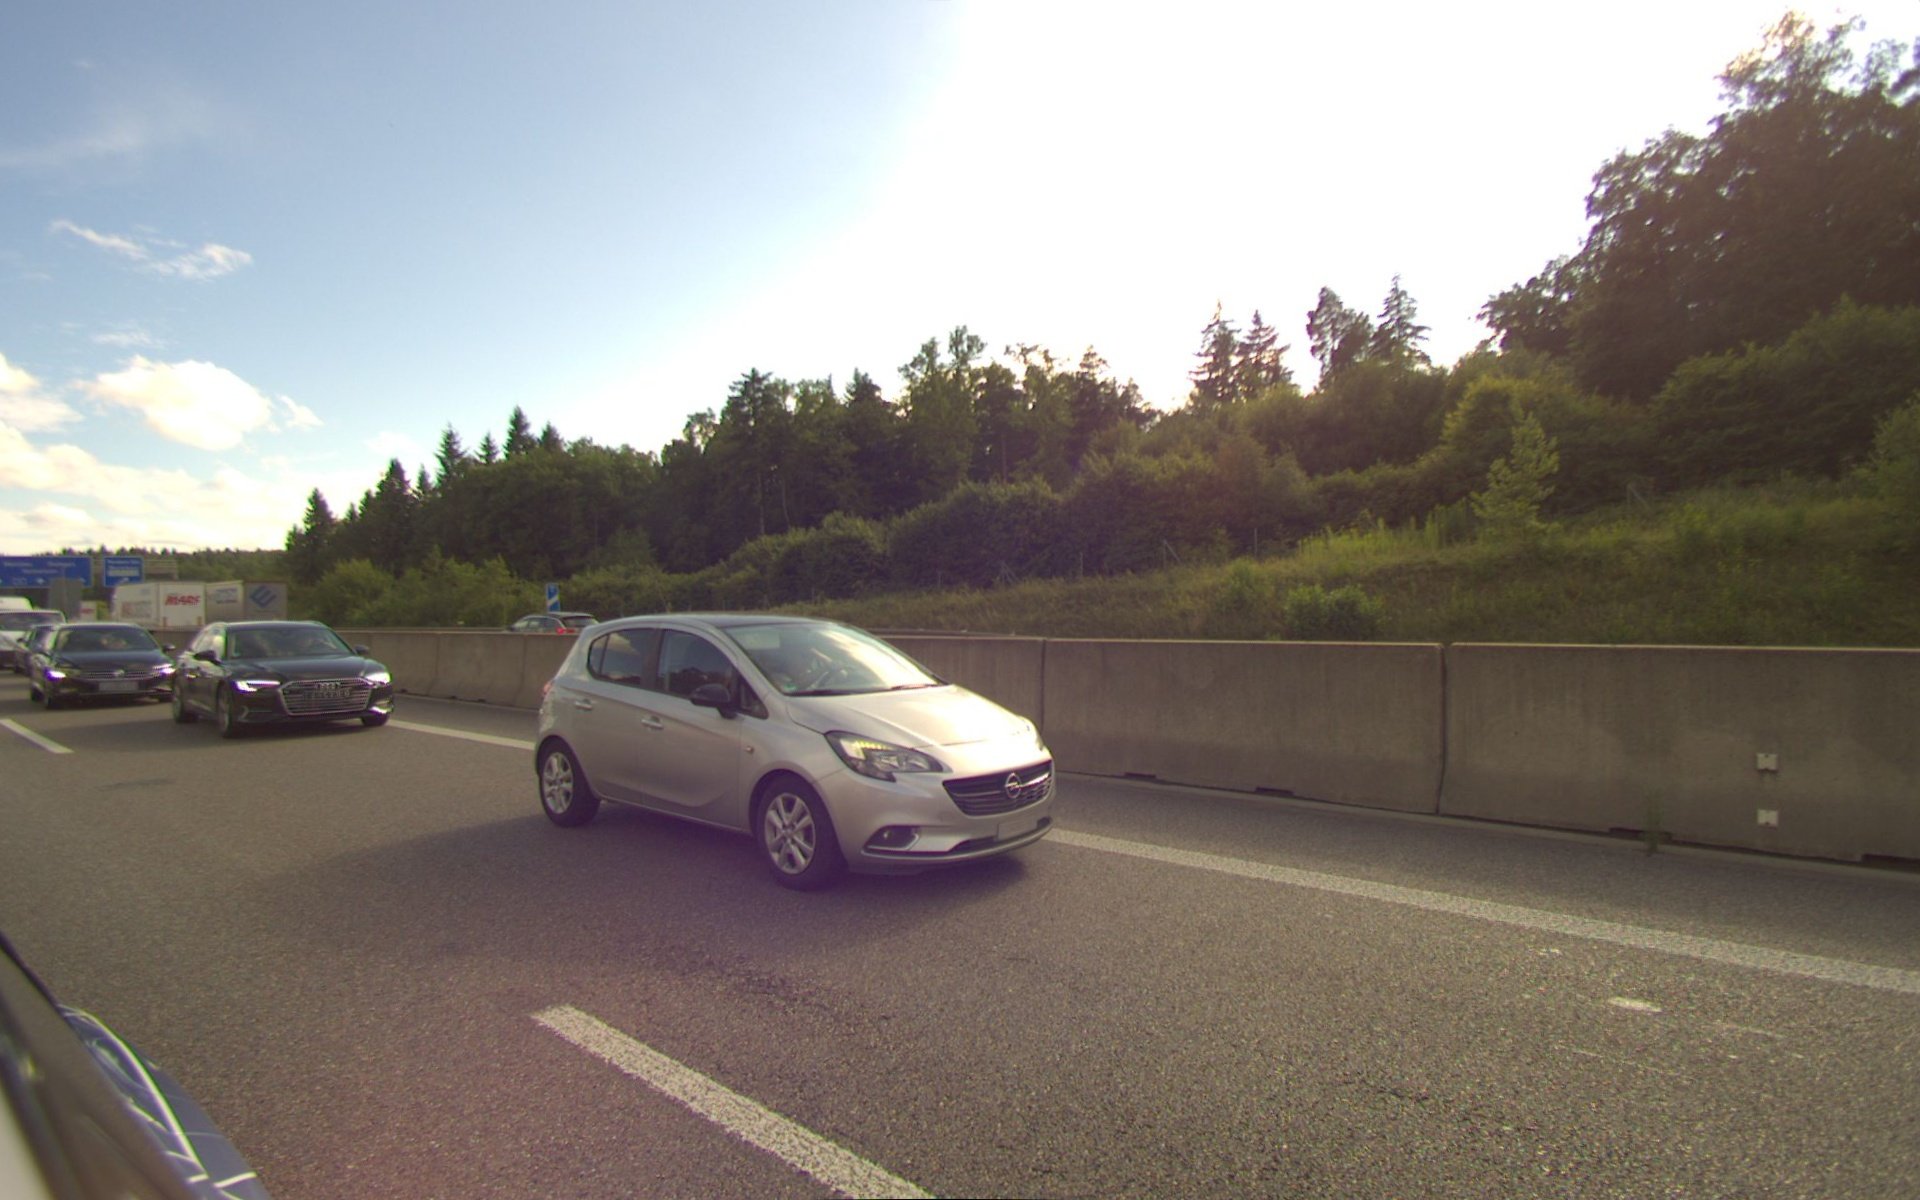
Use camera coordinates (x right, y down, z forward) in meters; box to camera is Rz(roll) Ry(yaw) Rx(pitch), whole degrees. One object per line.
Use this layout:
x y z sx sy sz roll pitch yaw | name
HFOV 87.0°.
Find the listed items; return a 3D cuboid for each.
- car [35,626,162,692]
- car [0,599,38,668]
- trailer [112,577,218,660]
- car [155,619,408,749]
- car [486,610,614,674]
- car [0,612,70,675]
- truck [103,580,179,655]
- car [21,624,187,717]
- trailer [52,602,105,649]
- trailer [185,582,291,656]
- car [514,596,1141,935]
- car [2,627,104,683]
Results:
-21.387 1.396 25.052 4.665 1.442 1.785 -2 -1 42 | car
-38.010 1.312 39.789 5.860 2.592 2.027 -2 -2 42 | car
-53.682 1.193 68.075 13.827 5.112 3.056 -1 0 41 | trailer
-9.619 1.040 14.168 4.851 1.483 1.862 -2 -1 43 | car
-12.819 1.272 31.514 4.622 1.823 1.833 -2 -1 41 | car
-31.591 1.426 34.037 4.846 1.980 1.922 -2 -1 42 | car
-58.658 1.207 72.410 7.138 5.139 3.056 -1 0 41 | truck
-15.858 1.203 18.657 4.569 1.489 1.890 -2 -1 44 | car
-105.687 2.963 121.260 13.829 5.320 3.010 -1 0 41 | trailer
-51.514 1.318 71.937 14.647 4.866 2.896 -1 0 41 | trailer
-1.058 0.776 6.417 4.039 1.477 1.728 -2 -2 42 | car
-26.401 1.547 29.415 3.993 1.442 1.785 -2 -1 42 | car
